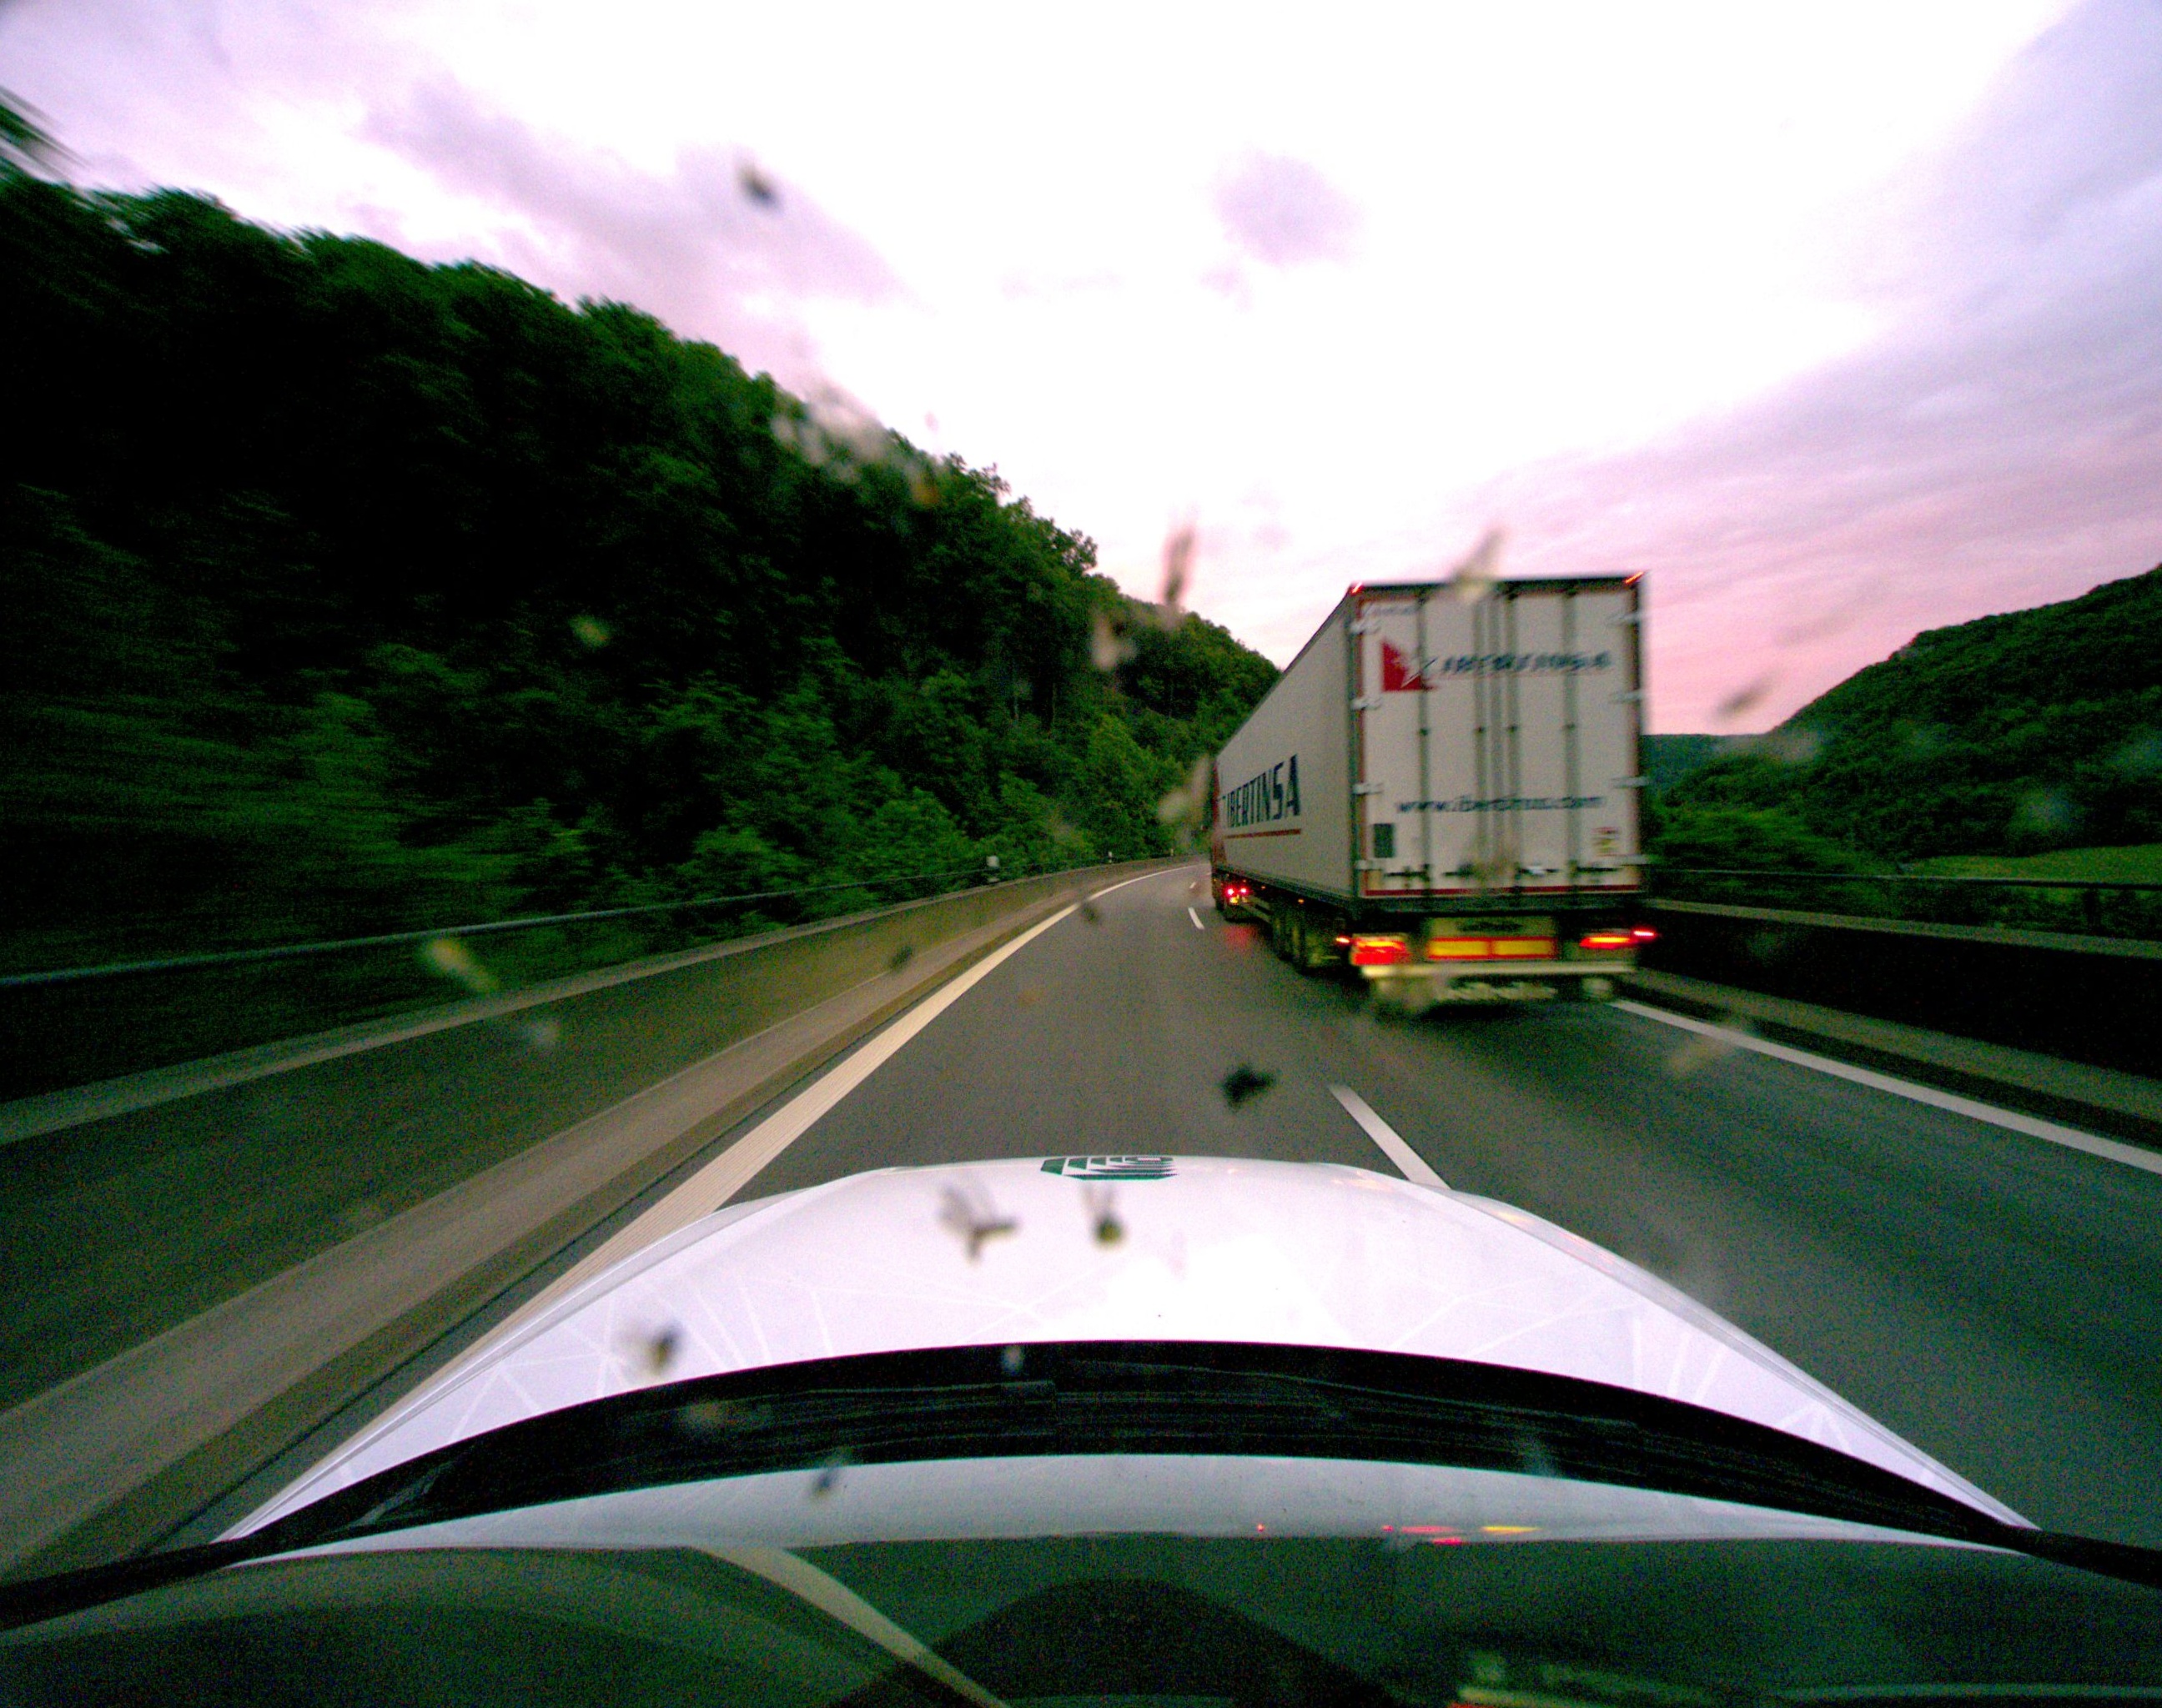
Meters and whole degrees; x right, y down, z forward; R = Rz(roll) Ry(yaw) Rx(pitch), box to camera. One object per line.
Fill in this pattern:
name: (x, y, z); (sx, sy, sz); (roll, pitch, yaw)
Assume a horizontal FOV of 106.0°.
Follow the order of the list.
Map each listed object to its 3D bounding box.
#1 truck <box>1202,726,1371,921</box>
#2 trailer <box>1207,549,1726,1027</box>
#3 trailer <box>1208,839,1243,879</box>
truck: (4.920, -0.626, 20.869); (3.055, 4.145, 6.453); (-1, -1, 4)
trailer: (4.379, -0.598, 14.091); (3.083, 3.970, 14.234); (-2, 0, 4)
trailer: (9.218, 0.231, 51.504); (2.041, 2.374, 5.957); (0, 1, 11)
